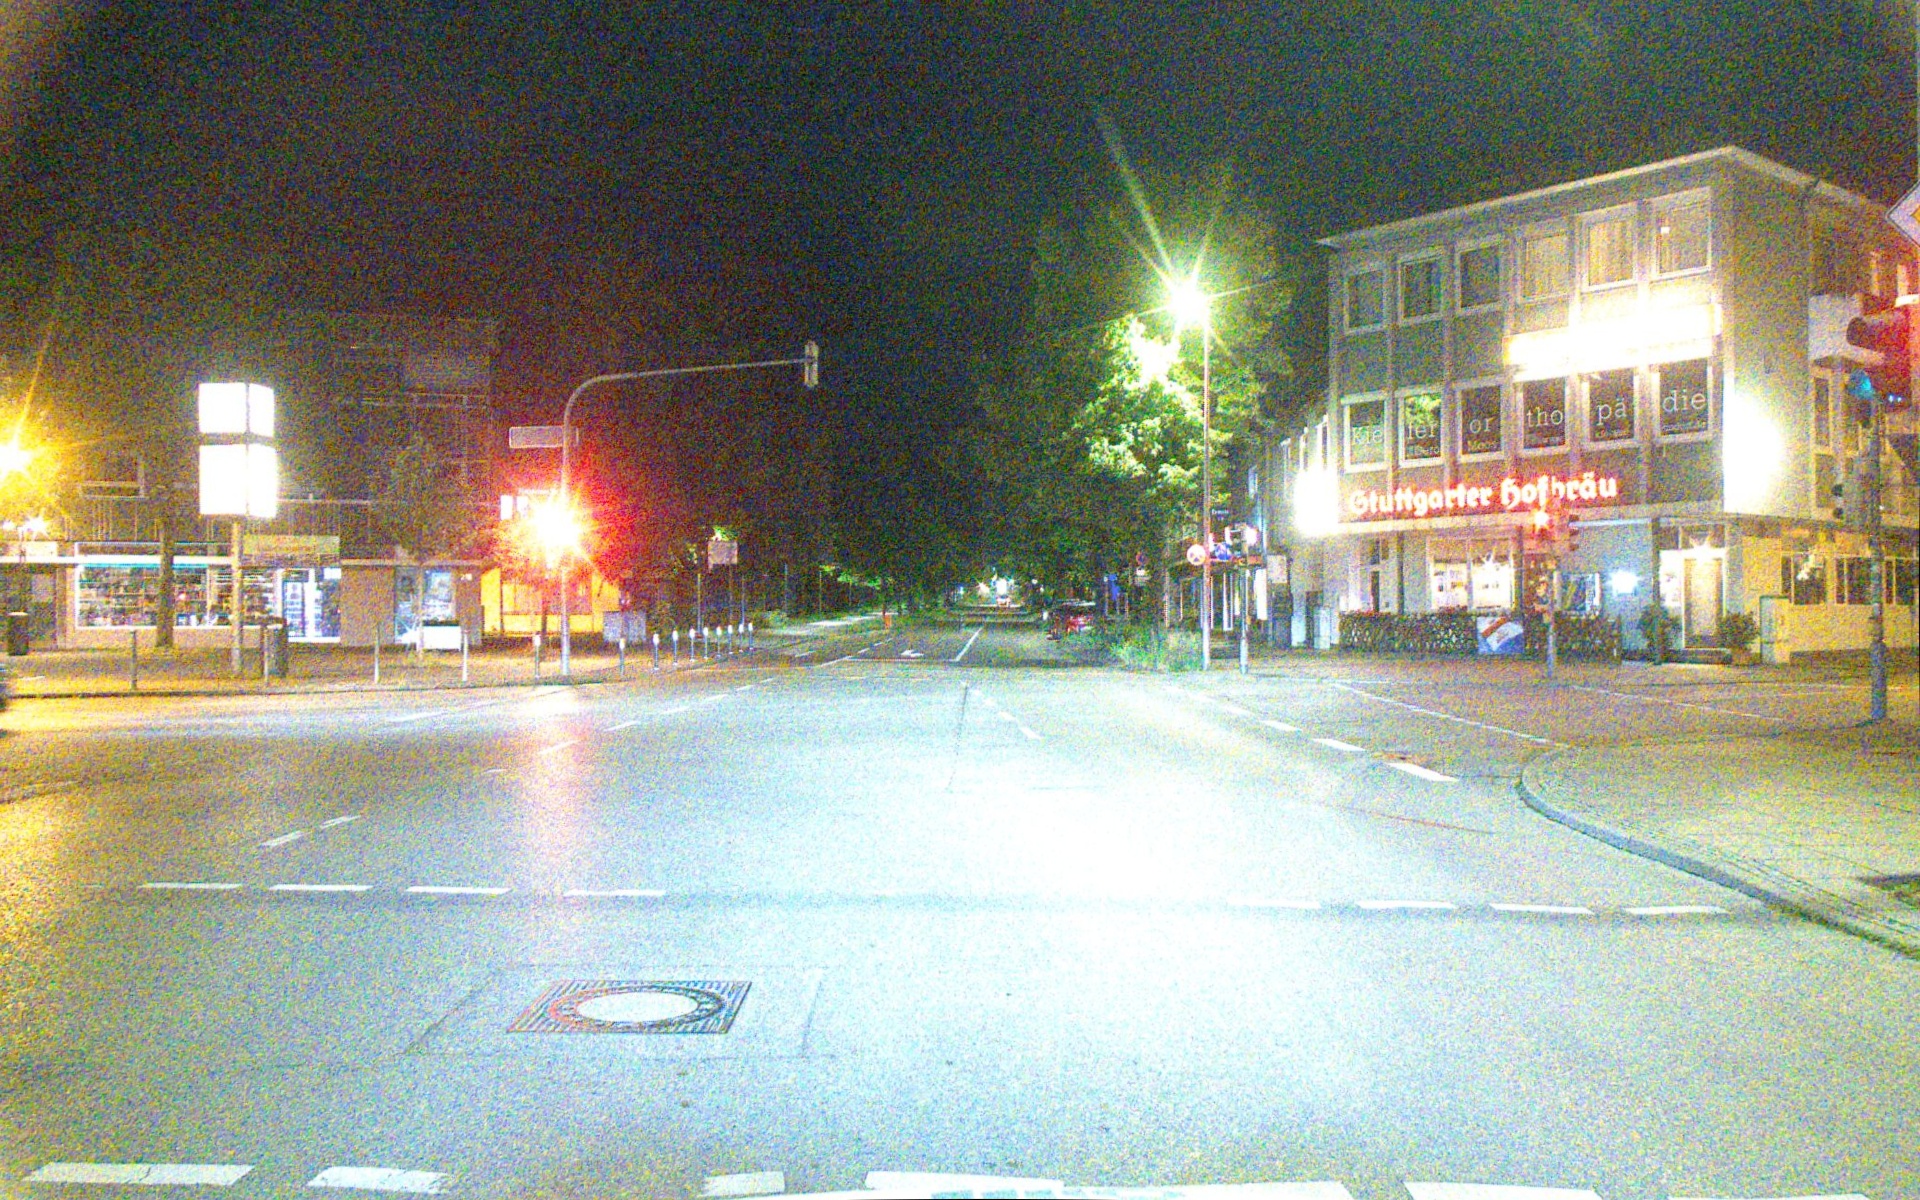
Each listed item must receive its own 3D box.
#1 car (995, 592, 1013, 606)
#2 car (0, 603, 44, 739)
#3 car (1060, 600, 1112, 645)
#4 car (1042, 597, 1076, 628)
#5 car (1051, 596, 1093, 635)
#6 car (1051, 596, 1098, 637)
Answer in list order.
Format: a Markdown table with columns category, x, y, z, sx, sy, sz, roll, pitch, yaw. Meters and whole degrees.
| category | x | y | z | sx | sy | sz | roll | pitch | yaw |
| --- | --- | --- | --- | --- | --- | --- | --- | --- | --- |
| car | 5.359 | -0.067 | 202.026 | 2.181 | 1.680 | 4.001 | 0 | 0 | 2 |
| car | -12.759 | 0.750 | 18.298 | 4.234 | 1.479 | 1.871 | 1 | 0 | -17 |
| car | 4.809 | 0.838 | 63.579 | 1.837 | 1.643 | 4.001 | 0 | 0 | 2 |
| car | 5.661 | 0.712 | 94.605 | 1.837 | 1.713 | 4.001 | 0 | 0 | 2 |
| car | 5.156 | 0.717 | 76.533 | 1.837 | 1.759 | 4.001 | 0 | 0 | 2 |
| car | 4.732 | 0.686 | 68.857 | 1.837 | 1.643 | 4.001 | 0 | 0 | 2 |
